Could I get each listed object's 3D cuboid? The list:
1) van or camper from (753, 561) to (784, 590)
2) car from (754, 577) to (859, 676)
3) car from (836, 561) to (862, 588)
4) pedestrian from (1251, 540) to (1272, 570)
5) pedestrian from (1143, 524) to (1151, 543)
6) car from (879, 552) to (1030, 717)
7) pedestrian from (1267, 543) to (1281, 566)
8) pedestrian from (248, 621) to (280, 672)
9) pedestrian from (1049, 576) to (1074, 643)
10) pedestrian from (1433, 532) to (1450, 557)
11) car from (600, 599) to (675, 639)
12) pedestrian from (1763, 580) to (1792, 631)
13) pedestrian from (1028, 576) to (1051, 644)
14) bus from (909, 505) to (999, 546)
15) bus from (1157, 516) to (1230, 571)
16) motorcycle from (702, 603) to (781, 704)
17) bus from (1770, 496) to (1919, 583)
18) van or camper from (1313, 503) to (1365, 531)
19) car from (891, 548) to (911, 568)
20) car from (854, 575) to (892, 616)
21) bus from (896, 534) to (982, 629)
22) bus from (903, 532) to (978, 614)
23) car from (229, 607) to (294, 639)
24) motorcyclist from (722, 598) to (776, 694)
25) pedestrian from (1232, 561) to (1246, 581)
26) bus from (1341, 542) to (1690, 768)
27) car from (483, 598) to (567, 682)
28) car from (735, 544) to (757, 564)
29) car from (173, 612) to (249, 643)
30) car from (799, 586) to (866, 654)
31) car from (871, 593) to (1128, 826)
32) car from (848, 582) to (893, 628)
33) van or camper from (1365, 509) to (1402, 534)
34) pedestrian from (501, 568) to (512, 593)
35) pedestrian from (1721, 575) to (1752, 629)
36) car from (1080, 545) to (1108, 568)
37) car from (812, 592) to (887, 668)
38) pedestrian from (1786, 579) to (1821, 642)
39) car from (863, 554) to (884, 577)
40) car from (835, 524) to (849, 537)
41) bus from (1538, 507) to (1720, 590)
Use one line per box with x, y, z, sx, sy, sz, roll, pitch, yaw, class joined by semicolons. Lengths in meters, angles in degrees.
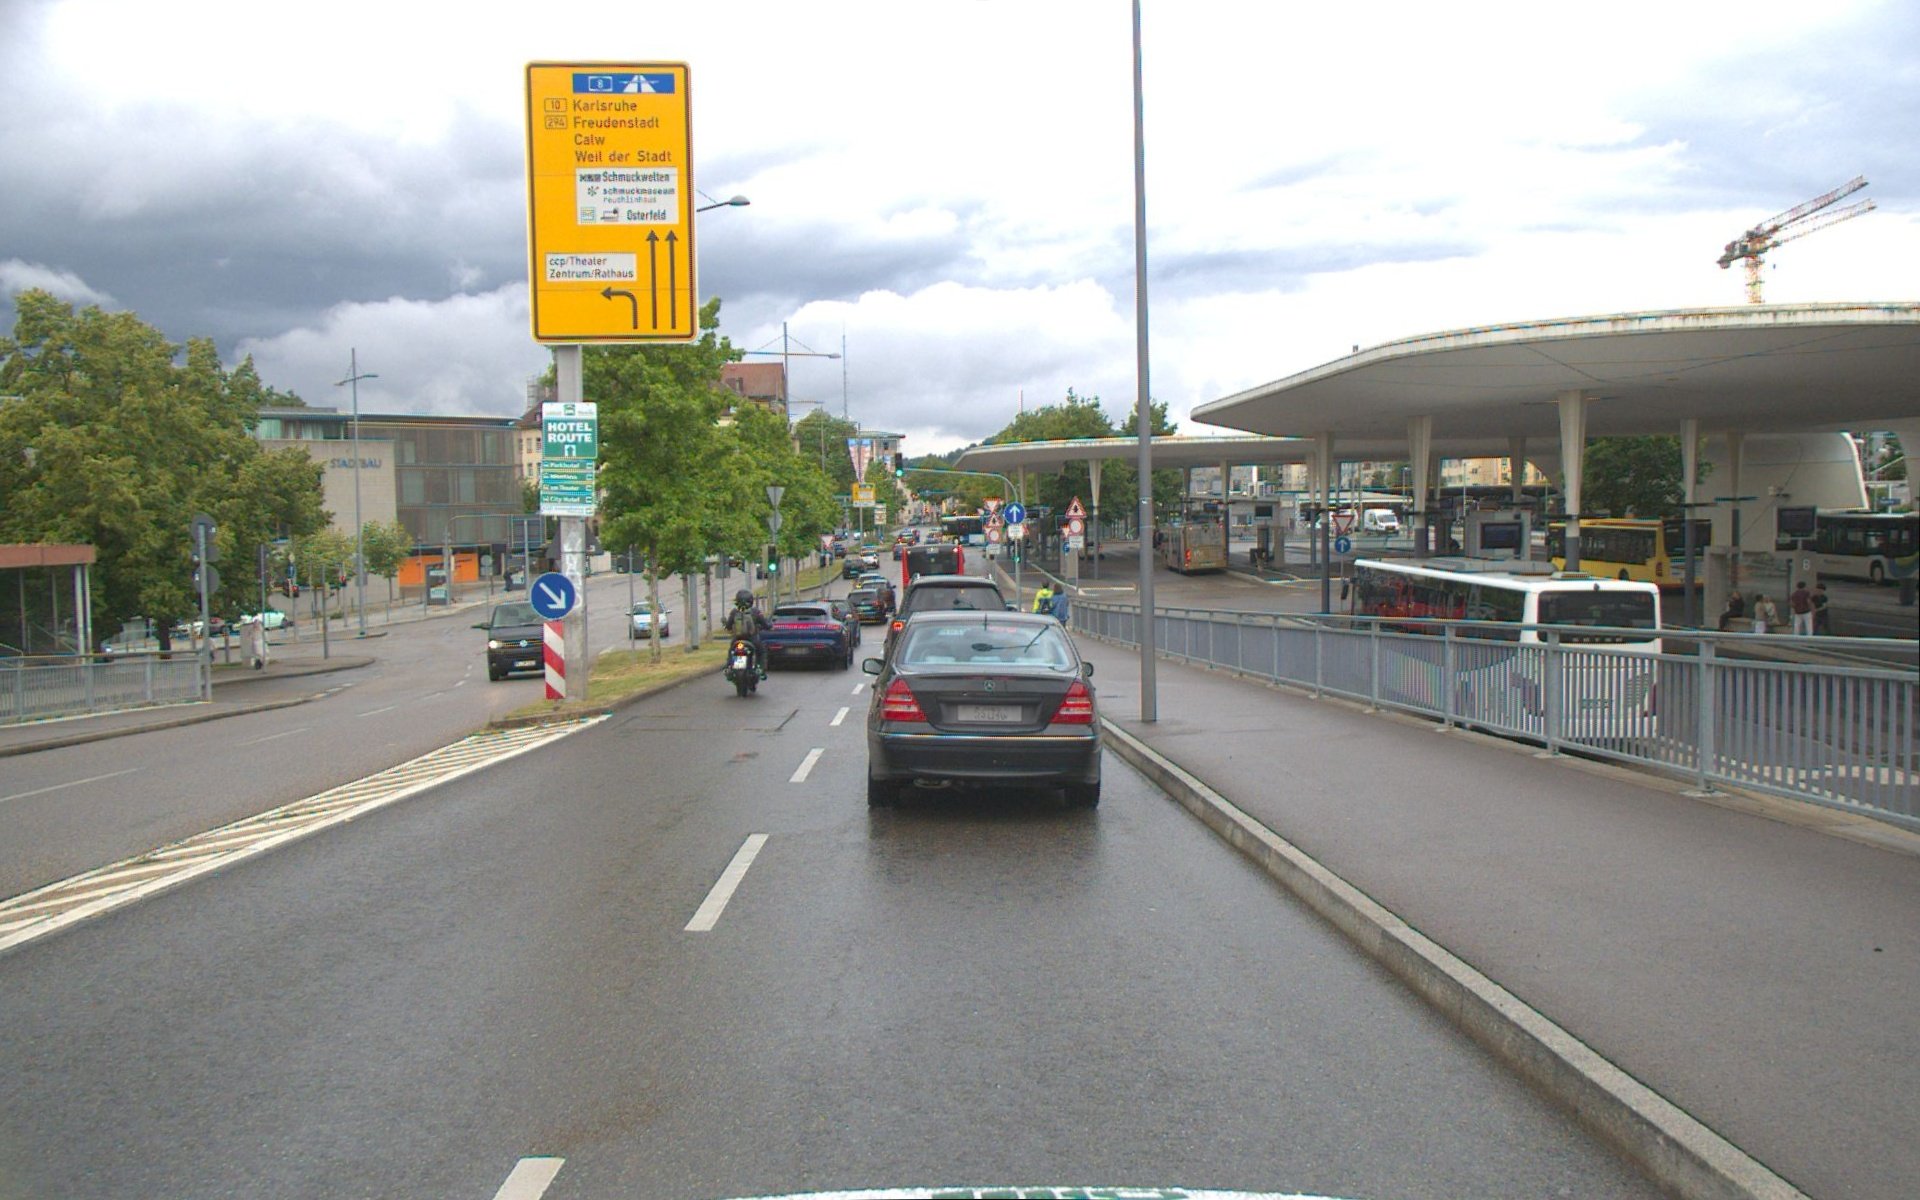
-15.820;-2.029;136.182;2.176;2.108;5.272;-4;0;-9;van or camper
-3.185;0.497;35.102;1.780;1.597;4.405;-5;4;-1;car
-8.273;-1.906;123.592;1.761;1.940;3.639;1;0;-1;car
17.746;-2.658;97.339;0.709;1.712;1.013;-5;3;-27;pedestrian
16.164;-5.773;142.984;0.568;1.606;0.560;1;-1;29;pedestrian
-0.113;0.398;24.858;1.918;1.907;4.874;-5;4;-1;car
19.795;-2.864;104.313;0.776;1.401;0.634;-2;3;16;pedestrian
-22.565;1.510;53.634;0.638;1.597;0.631;-4;1;0;pedestrian
2.588;0.240;42.274;0.577;1.700;0.580;0;-1;-2;pedestrian
31.290;-3.611;107.407;0.779;1.613;0.907;-1;2;-7;pedestrian
-13.466;0.782;68.949;1.619;1.473;3.829;-5;3;-34;car
23.537;0.158;47.616;0.557;1.417;0.558;-3;3;5;pedestrian
2.022;0.251;42.289;0.512;1.699;0.580;-1;0;-2;pedestrian
-0.734;-8.060;179.915;2.821;4.056;11.693;-5;4;-39;bus
14.973;-3.770;107.017;2.666;3.095;12.091;-3;3;-1;bus
-3.266;0.784;24.940;0.776;1.283;1.856;-4;3;3;motorcycle
39.755;-2.797;72.482;2.416;3.312;11.973;-3;4;-1;bus
36.448;-7.956;159.225;4.515;2.602;2.118;0;1;-2;van or camper
-5.477;-3.886;153.930;1.828;1.713;3.999;1;1;-1;car
-4.077;-0.235;77.817;1.544;1.593;3.872;-5;4;-1;car
-0.851;-0.929;71.006;3.219;3.347;10.881;-3;3;0;bus
-0.888;-1.415;79.405;3.224;3.345;8.852;-3;3;0;bus
-40.863;1.323;96.858;1.593;1.521;3.587;-2;3;14;car
-3.207;0.696;25.181;0.628;1.370;0.689;-3;3;2;motorcyclist
18.032;-1.863;106.791;0.776;1.247;0.634;-2;3;16;pedestrian
11.050;0.739;34.867;2.787;3.419;12.428;1;4;-2;bus
-11.217;0.998;42.896;1.813;2.002;4.670;-2;0;-12;car
-21.470;-4.637;165.860;1.871;1.690;4.856;-2;4;-4;car
-45.394;1.633;100.235;1.731;1.521;3.774;-1;4;37;car
-3.807;0.563;49.848;1.642;1.650;3.872;-5;4;-1;car
0.213;0.710;12.961;1.663;1.487;4.302;1;0;-1;car
-3.669;0.180;68.409;1.544;1.530;3.872;-5;4;0;car
39.160;-7.245;153.023;1.953;2.139;5.479;0;1;-2;van or camper
-32.969;-1.420;120.276;0.464;1.712;0.764;-3;3;6;pedestrian
23.559;0.073;50.189;0.577;1.617;0.677;1;-1;-5;pedestrian
10.657;-3.498;131.825;1.677;1.690;4.240;-2;3;-2;car
-2.916;0.770;44.445;1.706;1.593;3.872;-5;4;-1;car
23.248;0.276;45.594;0.637;1.682;0.630;-5;4;-41;pedestrian
-7.140;-2.836;137.127;1.608;1.836;3.639;1;0;-1;car
-16.329;-9.576;229.068;1.744;1.593;3.430;-5;4;-1;car
29.891;-2.292;74.678;2.733;3.313;12.136;-2;2;-3;bus
